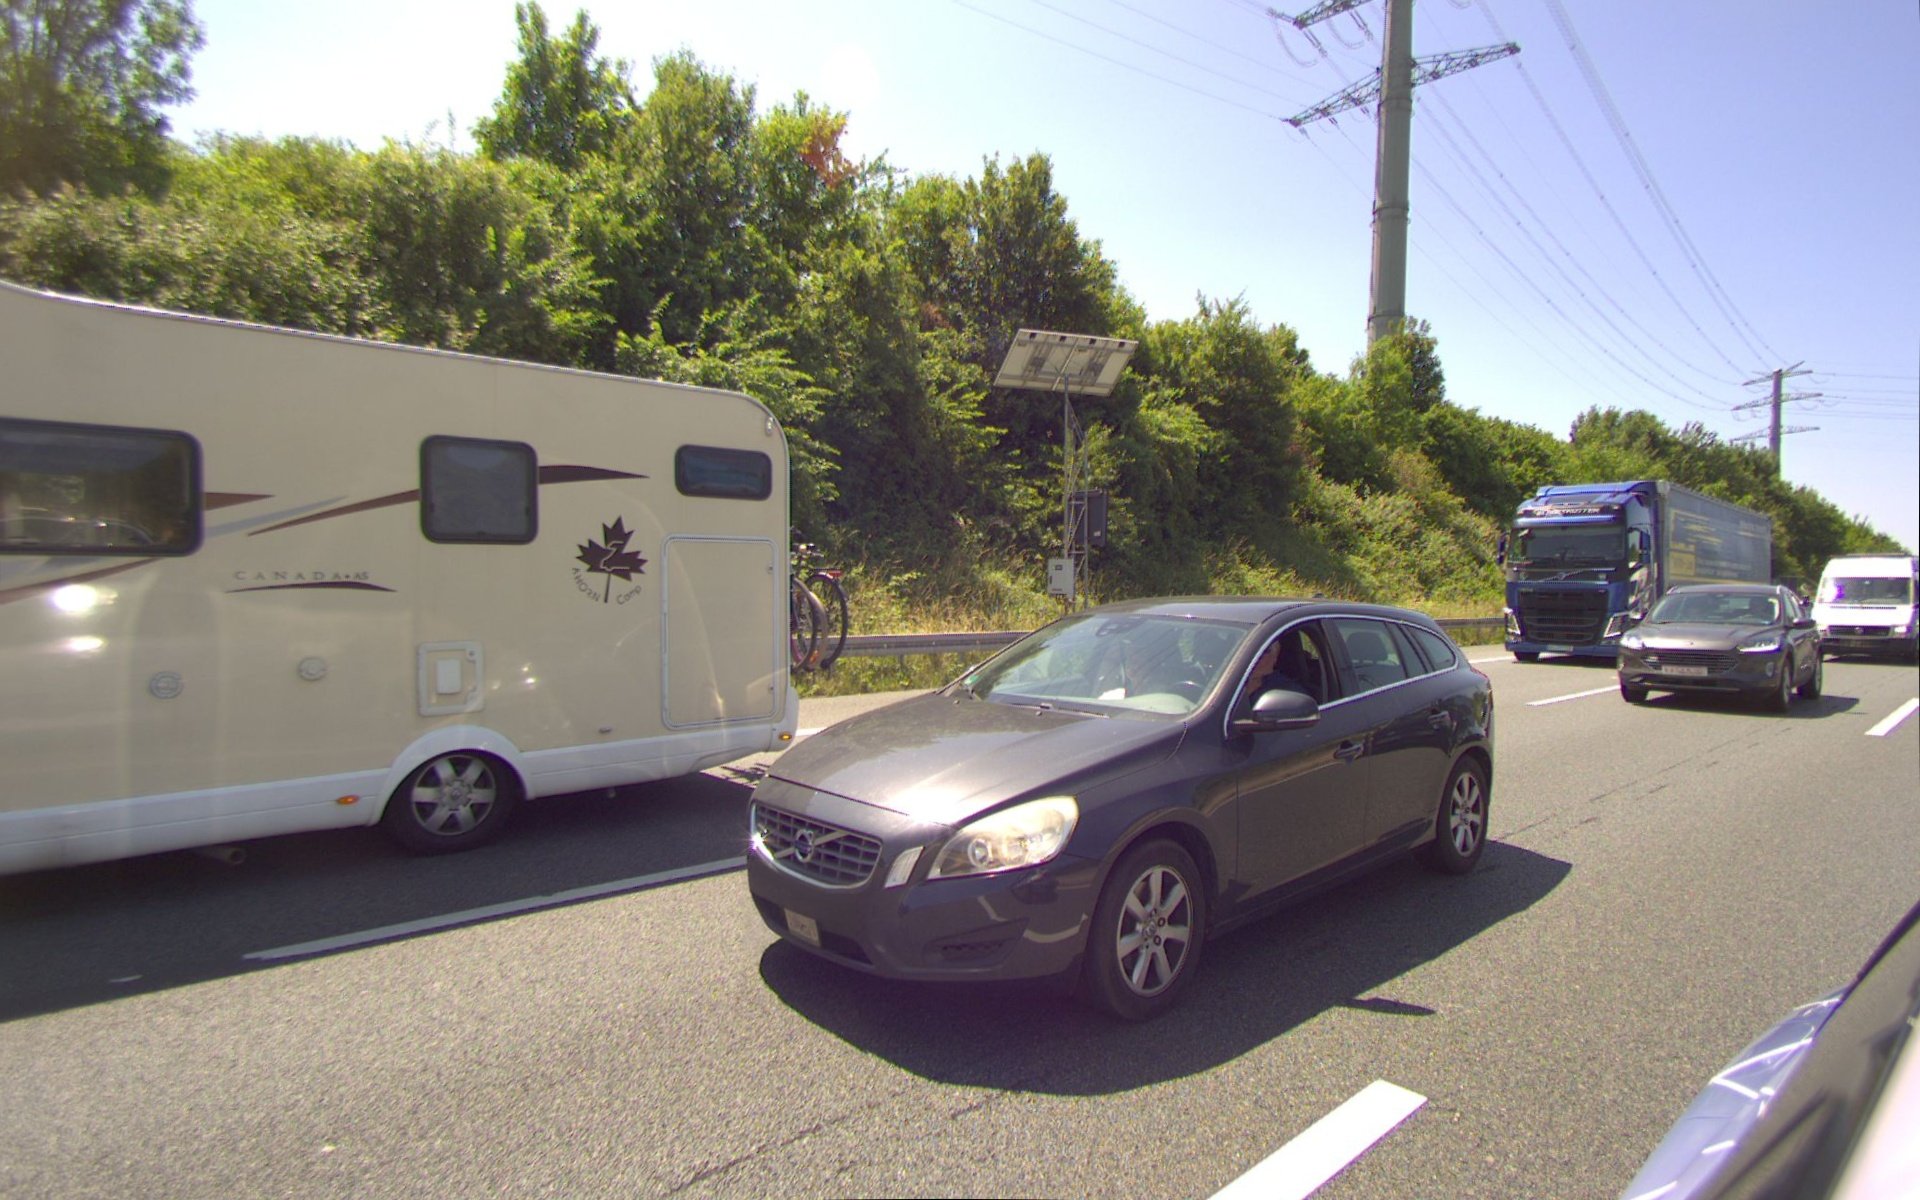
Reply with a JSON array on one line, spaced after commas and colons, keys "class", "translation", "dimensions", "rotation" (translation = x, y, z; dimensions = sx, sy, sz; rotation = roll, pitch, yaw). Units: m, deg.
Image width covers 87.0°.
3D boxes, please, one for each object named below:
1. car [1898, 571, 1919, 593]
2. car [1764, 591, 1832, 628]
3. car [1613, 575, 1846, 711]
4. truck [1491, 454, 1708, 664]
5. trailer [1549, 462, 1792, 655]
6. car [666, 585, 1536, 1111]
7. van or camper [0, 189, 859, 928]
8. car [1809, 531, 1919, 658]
[{"class": "car", "translation": [67.843, -1.254, 71.649], "dimensions": [3.807, 1.538, 1.718], "rotation": [-1, 0, -41]}, {"class": "car", "translation": [36.703, 0.402, 44.303], "dimensions": [3.807, 1.538, 1.718], "rotation": [-1, 0, -41]}, {"class": "car", "translation": [10.939, 0.493, 14.288], "dimensions": [4.148, 1.631, 1.891], "rotation": [-1, 0, -42]}, {"class": "truck", "translation": [14.730, -0.849, 23.176], "dimensions": [5.540, 4.197, 2.789], "rotation": [-1, 0, -42]}, {"class": "trailer", "translation": [20.038, -0.993, 27.987], "dimensions": [12.658, 4.317, 2.771], "rotation": [-1, 0, -42]}, {"class": "car", "translation": [1.037, 0.659, 4.946], "dimensions": [4.433, 1.437, 1.797], "rotation": [-1, 0, -42]}, {"class": "van or camper", "translation": [-4.293, -0.184, 5.548], "dimensions": [7.501, 3.082, 2.372], "rotation": [-1, 0, -42]}, {"class": "car", "translation": [22.805, -0.154, 24.899], "dimensions": [6.591, 2.753, 2.040], "rotation": [-1, 0, -42]}]
